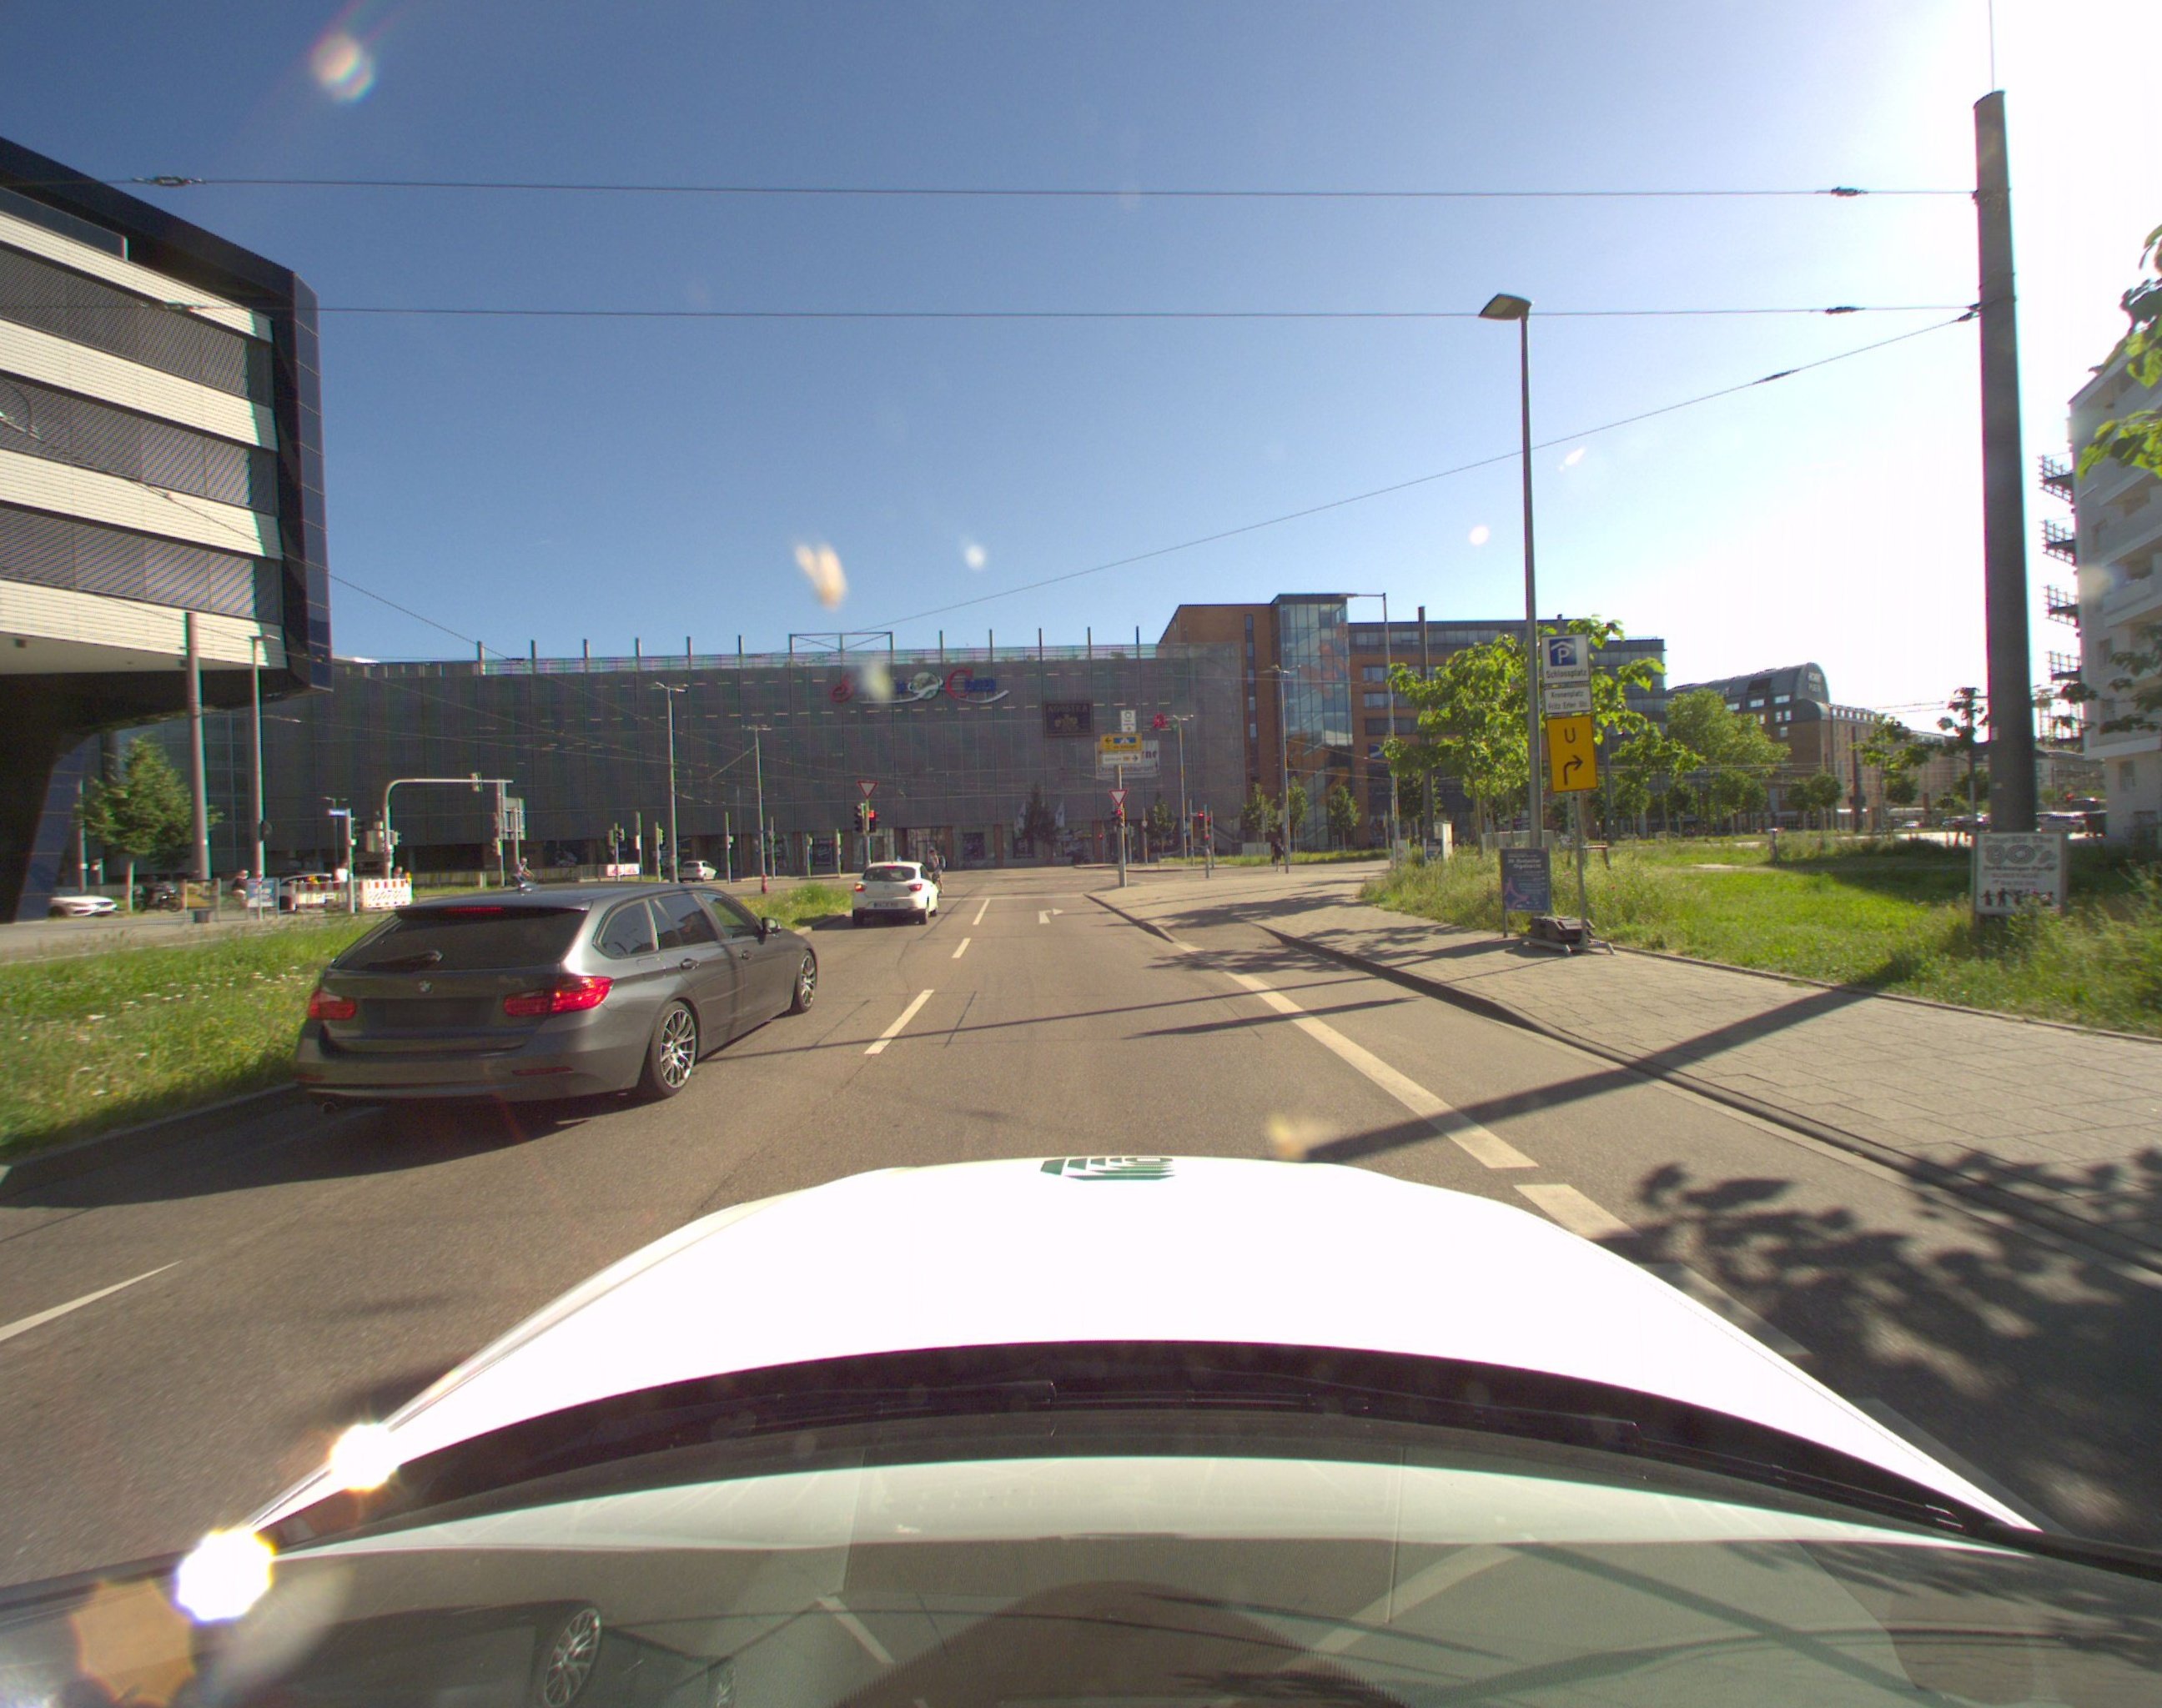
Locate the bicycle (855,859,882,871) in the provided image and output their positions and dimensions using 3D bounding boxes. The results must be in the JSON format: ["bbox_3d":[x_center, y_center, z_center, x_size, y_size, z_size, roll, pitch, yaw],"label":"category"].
[{"bbox_3d":[-20.436,1.064,78.299,1.033,1.070,2.258,-2,1,44],"label":"bicycle"}]

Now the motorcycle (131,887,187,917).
[{"bbox_3d":[-43.637,2.242,38.563,1.621,1.298,0.594,-2,0,-36],"label":"motorcycle"}]

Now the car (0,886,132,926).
[{"bbox_3d":[-45.087,2.291,35.840,4.070,1.464,1.910,-2,0,-5],"label":"car"}]

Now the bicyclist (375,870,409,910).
[{"bbox_3d":[-29.115,1.518,34.425,0.782,1.648,0.688,-2,0,-7],"label":"bicyclist"}]

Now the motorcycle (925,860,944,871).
[{"bbox_3d":[-14.327,1.138,79.592,1.644,1.059,0.498,-2,0,4],"label":"motorcycle"}]

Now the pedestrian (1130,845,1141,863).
[{"bbox_3d":[5.372,0.033,79.850,0.854,1.738,0.751,-2,0,-11],"label":"pedestrian"}]

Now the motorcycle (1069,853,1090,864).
[{"bbox_3d":[-0.149,0.442,86.094,2.199,1.042,1.059,-1,1,-5],"label":"motorcycle"}]

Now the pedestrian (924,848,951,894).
[{"bbox_3d":[-5.563,0.653,31.587,0.884,1.707,0.711,-2,0,-6],"label":"pedestrian"}]

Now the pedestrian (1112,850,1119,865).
[{"bbox_3d":[3.542,0.380,82.705,0.588,1.534,0.657,-2,0,-5],"label":"pedestrian"}]

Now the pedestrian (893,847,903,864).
[{"bbox_3d":[-19.085,0.120,85.040,0.847,1.763,0.619,-2,0,-6],"label":"pedestrian"}]

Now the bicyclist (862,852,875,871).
[{"bbox_3d":[-20.442,0.686,78.232,0.806,1.803,0.850,-2,0,43],"label":"bicyclist"}]

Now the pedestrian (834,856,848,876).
[{"bbox_3d":[-23.070,1.123,78.220,0.894,1.868,0.826,-2,0,38],"label":"pedestrian"}]

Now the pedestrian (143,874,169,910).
[{"bbox_3d":[-43.741,1.799,38.513,0.692,1.668,0.364,-2,0,-38],"label":"pedestrian"}]

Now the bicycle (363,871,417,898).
[{"bbox_3d":[-29.314,1.284,34.552,1.575,1.107,0.732,0,0,-8],"label":"bicycle"}]

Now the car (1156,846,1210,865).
[{"bbox_3d":[8.943,0.100,71.769,4.480,1.494,1.492,-2,0,-5],"label":"car"}]

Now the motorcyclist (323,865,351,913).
[{"bbox_3d":[-31.554,1.476,34.534,0.627,2.013,0.497,-2,0,-5],"label":"motorcyclist"}]

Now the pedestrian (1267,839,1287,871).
[{"bbox_3d":[10.543,0.045,43.900,0.805,1.708,0.760,-2,0,-5],"label":"pedestrian"}]

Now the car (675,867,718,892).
[{"bbox_3d":[-29.186,1.885,61.994,1.750,1.794,3.991,-1,0,-7],"label":"car"}]

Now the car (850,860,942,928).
[{"bbox_3d":[-4.332,0.886,19.573,1.629,1.423,3.775,1,0,-5],"label":"car"}]

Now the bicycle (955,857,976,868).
[{"bbox_3d":[-12.024,0.882,84.646,2.023,1.059,1.143,-2,0,-6],"label":"bicycle"}]

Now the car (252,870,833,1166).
[{"bbox_3d":[-3.487,0.905,6.498,1.729,1.423,4.465,1,0,-1],"label":"car"}]

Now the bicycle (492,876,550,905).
[{"bbox_3d":[-24.171,1.555,35.179,1.826,1.116,0.852,-2,0,-5],"label":"bicycle"}]

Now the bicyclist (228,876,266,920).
[{"bbox_3d":[-35.093,1.836,34.281,0.763,1.789,0.761,-2,0,-9],"label":"bicyclist"}]

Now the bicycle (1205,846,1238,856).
[{"bbox_3d":[15.144,-0.327,87.914,3.348,1.077,1.117,-1,1,1],"label":"bicycle"}]

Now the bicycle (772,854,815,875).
[{"bbox_3d":[-29.851,1.114,84.701,3.980,2.013,1.328,-1,1,-5],"label":"bicycle"}]

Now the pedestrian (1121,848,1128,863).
[{"bbox_3d":[4.432,0.155,83.410,0.588,1.462,0.657,-2,0,-5],"label":"pedestrian"}]

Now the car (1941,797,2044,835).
[{"bbox_3d":[53.930,-2.213,48.277,2.011,2.013,3.952,-2,0,-41],"label":"car"}]

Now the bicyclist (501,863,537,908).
[{"bbox_3d":[-24.276,1.333,35.174,0.900,1.859,0.853,-2,0,-5],"label":"bicyclist"}]

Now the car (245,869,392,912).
[{"bbox_3d":[-34.063,1.601,36.497,4.485,1.634,1.835,-2,1,-8],"label":"car"}]
